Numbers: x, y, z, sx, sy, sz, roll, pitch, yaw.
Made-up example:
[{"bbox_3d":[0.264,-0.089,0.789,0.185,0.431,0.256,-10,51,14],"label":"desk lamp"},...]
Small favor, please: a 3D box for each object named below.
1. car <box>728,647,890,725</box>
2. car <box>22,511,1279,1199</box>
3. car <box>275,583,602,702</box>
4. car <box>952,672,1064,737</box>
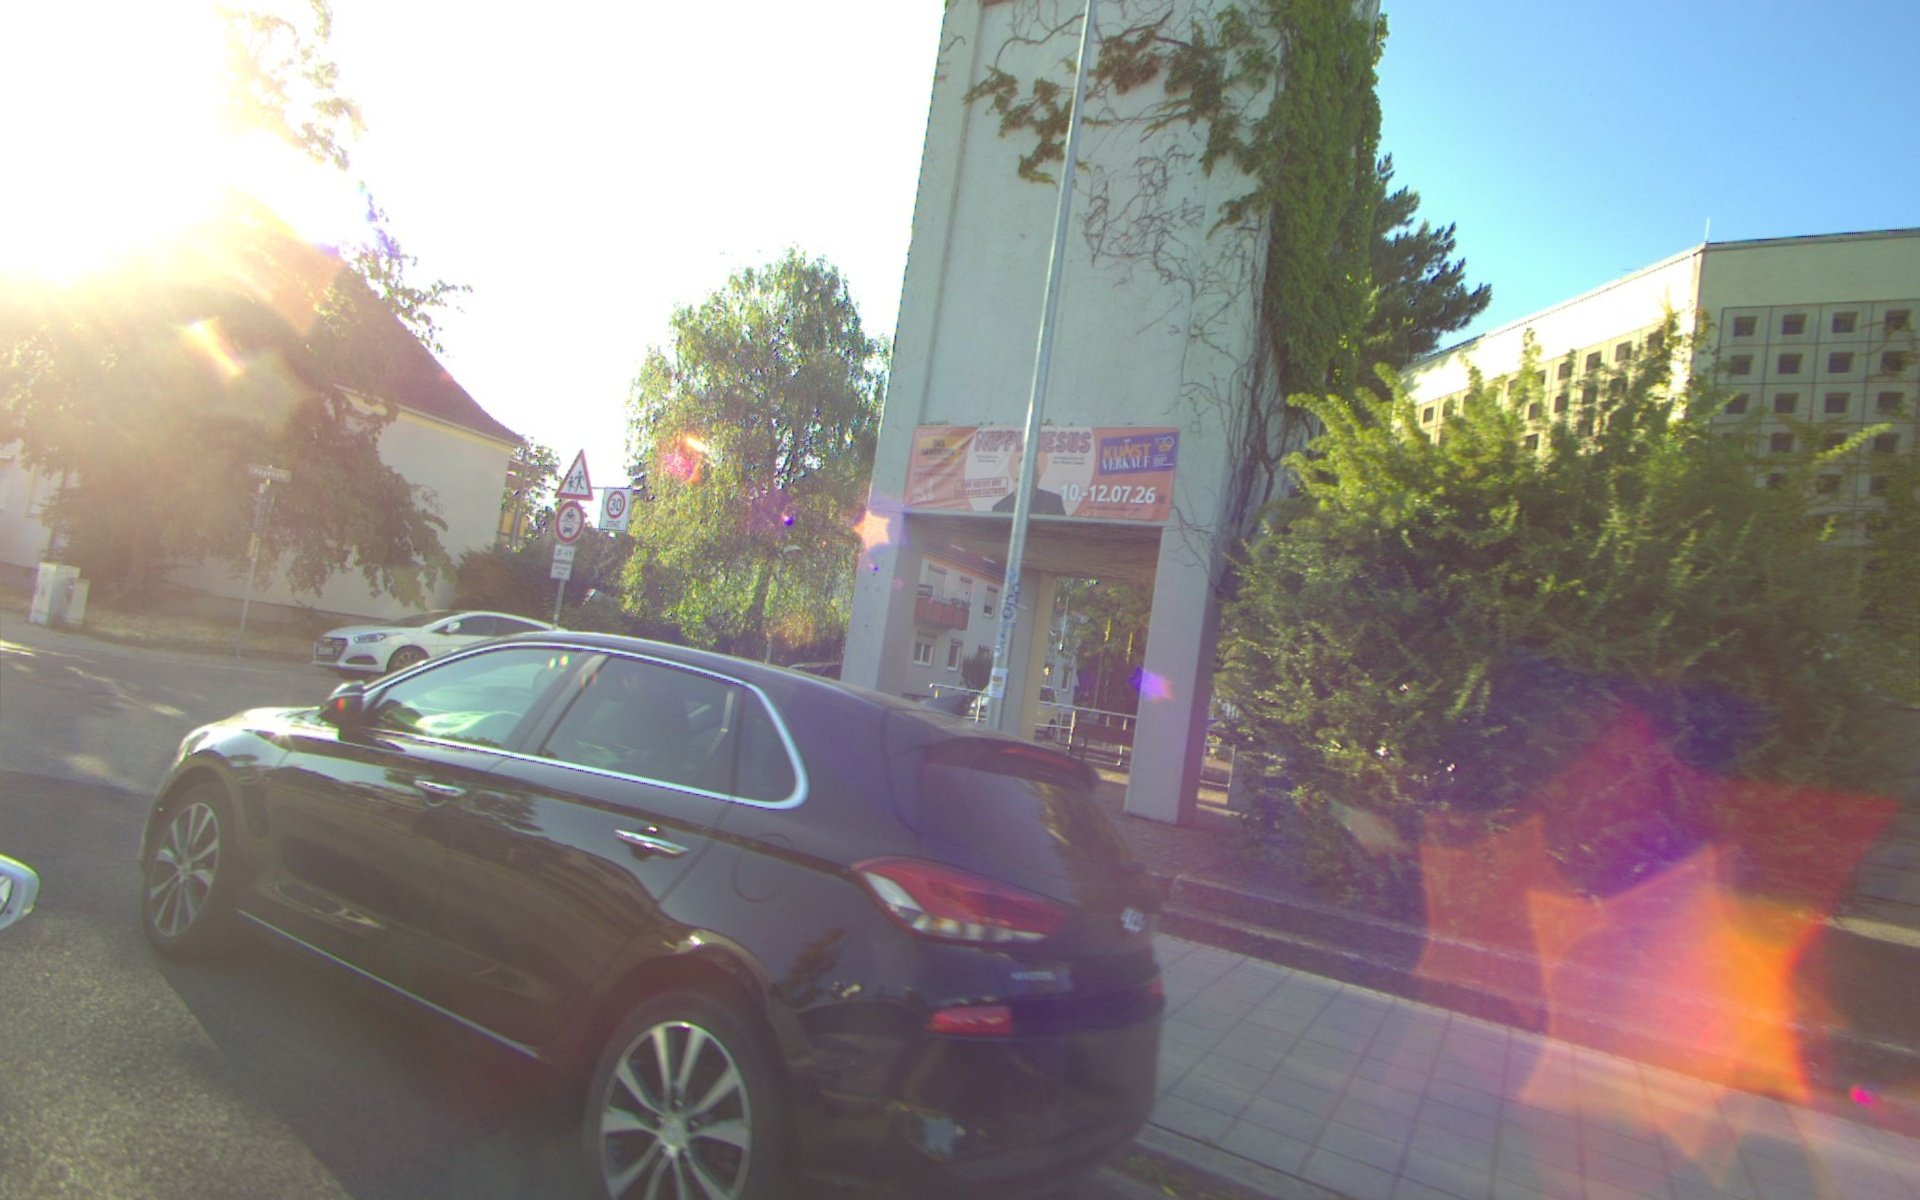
[{"bbox_3d":[-4.016,2.388,27.431,1.968,1.525,4.128,6,-6,34],"label":"car"},{"bbox_3d":[-1.403,0.807,3.845,4.546,1.572,1.833,6,-10,32],"label":"car"},{"bbox_3d":[-9.207,0.858,18.274,1.970,1.500,4.865,2,-8,30],"label":"car"},{"bbox_3d":[1.875,3.933,37.355,2.136,1.992,5.023,3,-6,27],"label":"car"}]
